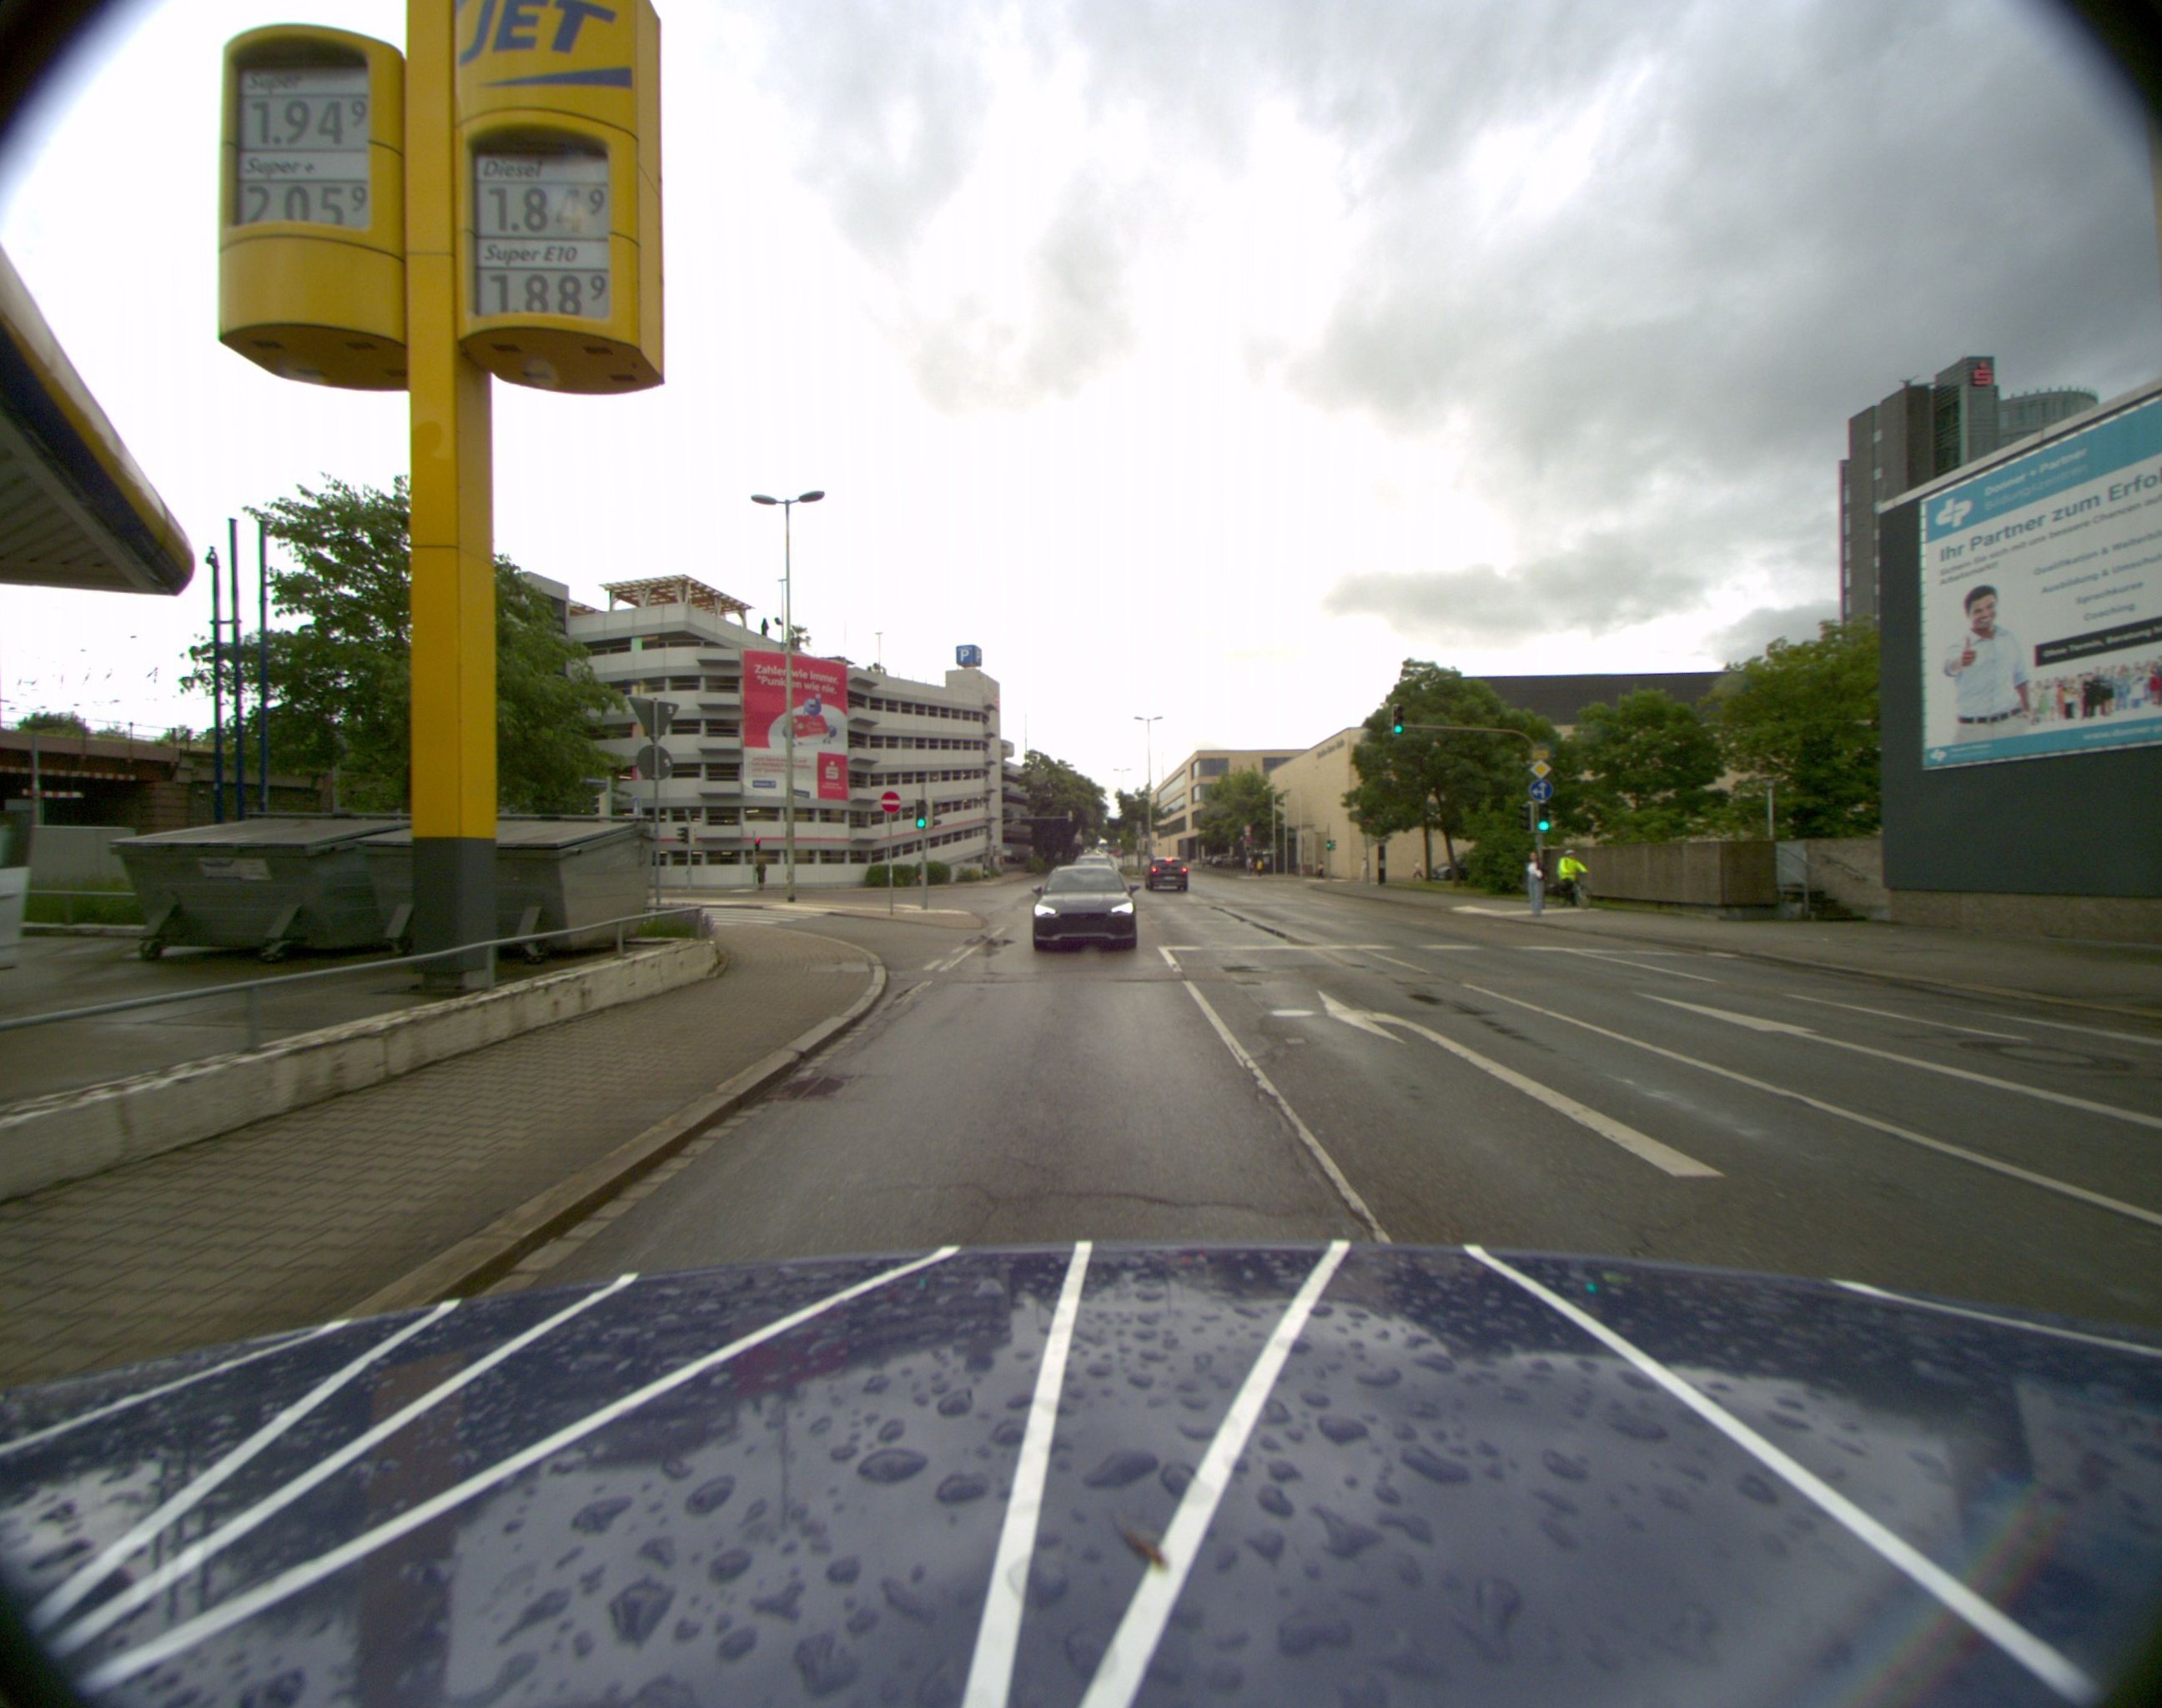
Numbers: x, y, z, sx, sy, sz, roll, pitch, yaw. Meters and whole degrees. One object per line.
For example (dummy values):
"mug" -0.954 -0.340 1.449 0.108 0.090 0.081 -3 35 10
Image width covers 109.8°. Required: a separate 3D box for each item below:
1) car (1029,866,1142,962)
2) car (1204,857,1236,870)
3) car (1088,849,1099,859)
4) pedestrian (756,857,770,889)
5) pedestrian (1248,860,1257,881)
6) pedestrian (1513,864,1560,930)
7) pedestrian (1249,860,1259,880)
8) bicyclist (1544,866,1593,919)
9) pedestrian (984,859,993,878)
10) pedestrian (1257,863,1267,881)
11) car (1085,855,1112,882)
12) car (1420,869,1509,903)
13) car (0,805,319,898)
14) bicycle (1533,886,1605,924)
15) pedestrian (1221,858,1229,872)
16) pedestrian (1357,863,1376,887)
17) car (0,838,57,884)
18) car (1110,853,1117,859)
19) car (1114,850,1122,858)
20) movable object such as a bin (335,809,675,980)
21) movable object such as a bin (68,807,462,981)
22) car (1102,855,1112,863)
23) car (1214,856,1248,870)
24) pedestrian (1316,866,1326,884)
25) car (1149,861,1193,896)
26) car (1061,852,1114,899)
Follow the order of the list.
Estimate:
"car" 0.010 0.991 14.333 1.739 1.380 4.582 -2 0 -2
"car" 18.058 1.202 98.884 3.995 1.576 2.001 -2 0 5
"car" 2.264 -0.043 137.763 1.998 1.716 4.401 0 -1 2
"pedestrian" -19.013 1.128 45.444 0.546 1.879 0.506 3 -1 -39
"pedestrian" 14.276 1.355 63.233 0.595 1.761 0.692 -2 1 0
"pedestrian" 11.960 1.112 19.973 0.719 1.680 0.811 -2 1 3
"pedestrian" 15.000 1.361 65.789 0.595 1.721 0.692 -2 1 -3
"bicyclist" 13.771 1.079 21.480 0.844 1.433 0.813 -2 0 3
"pedestrian" -8.186 1.269 67.217 0.584 1.650 0.519 2 2 18
"pedestrian" 15.418 1.494 64.679 0.595 1.507 0.692 -2 1 0
"car" 1.294 1.023 54.921 1.804 1.817 3.950 -3 0 3
"car" 25.085 2.071 49.819 4.789 1.914 2.000 3 0 -1
"car" -19.936 0.080 16.470 1.995 1.715 4.410 -2 -4 29
"bicycle" 13.778 1.420 21.530 0.887 0.902 1.867 -2 0 3
"pedestrian" 17.610 1.325 92.862 0.803 1.637 0.976 -2 0 8
"pedestrian" 21.240 1.547 56.522 1.113 1.690 0.807 -2 1 -1
"car" -41.318 0.324 27.631 5.037 1.622 1.999 -2 0 -4
"car" 9.385 0.531 219.352 1.675 1.598 4.300 2 0 -1
"car" 9.136 -0.045 187.532 1.855 1.841 4.300 2 0 -1
"movable object such as a bin" -5.783 0.368 7.881 2.160 1.565 1.773 0 0 2
"movable object such as a bin" -8.185 0.364 7.824 2.160 1.546 1.773 1 0 2
"car" 5.884 1.063 171.675 1.999 1.772 3.999 -2 0 -1
"car" 19.091 1.165 96.557 3.995 1.576 2.001 -2 0 5
"pedestrian" 18.465 1.593 58.477 0.622 1.368 0.475 -2 1 2
"car" 4.321 1.158 37.031 1.812 1.585 4.296 0 0 2
"car" 0.319 0.781 29.582 1.845 1.647 4.001 -2 0 3
